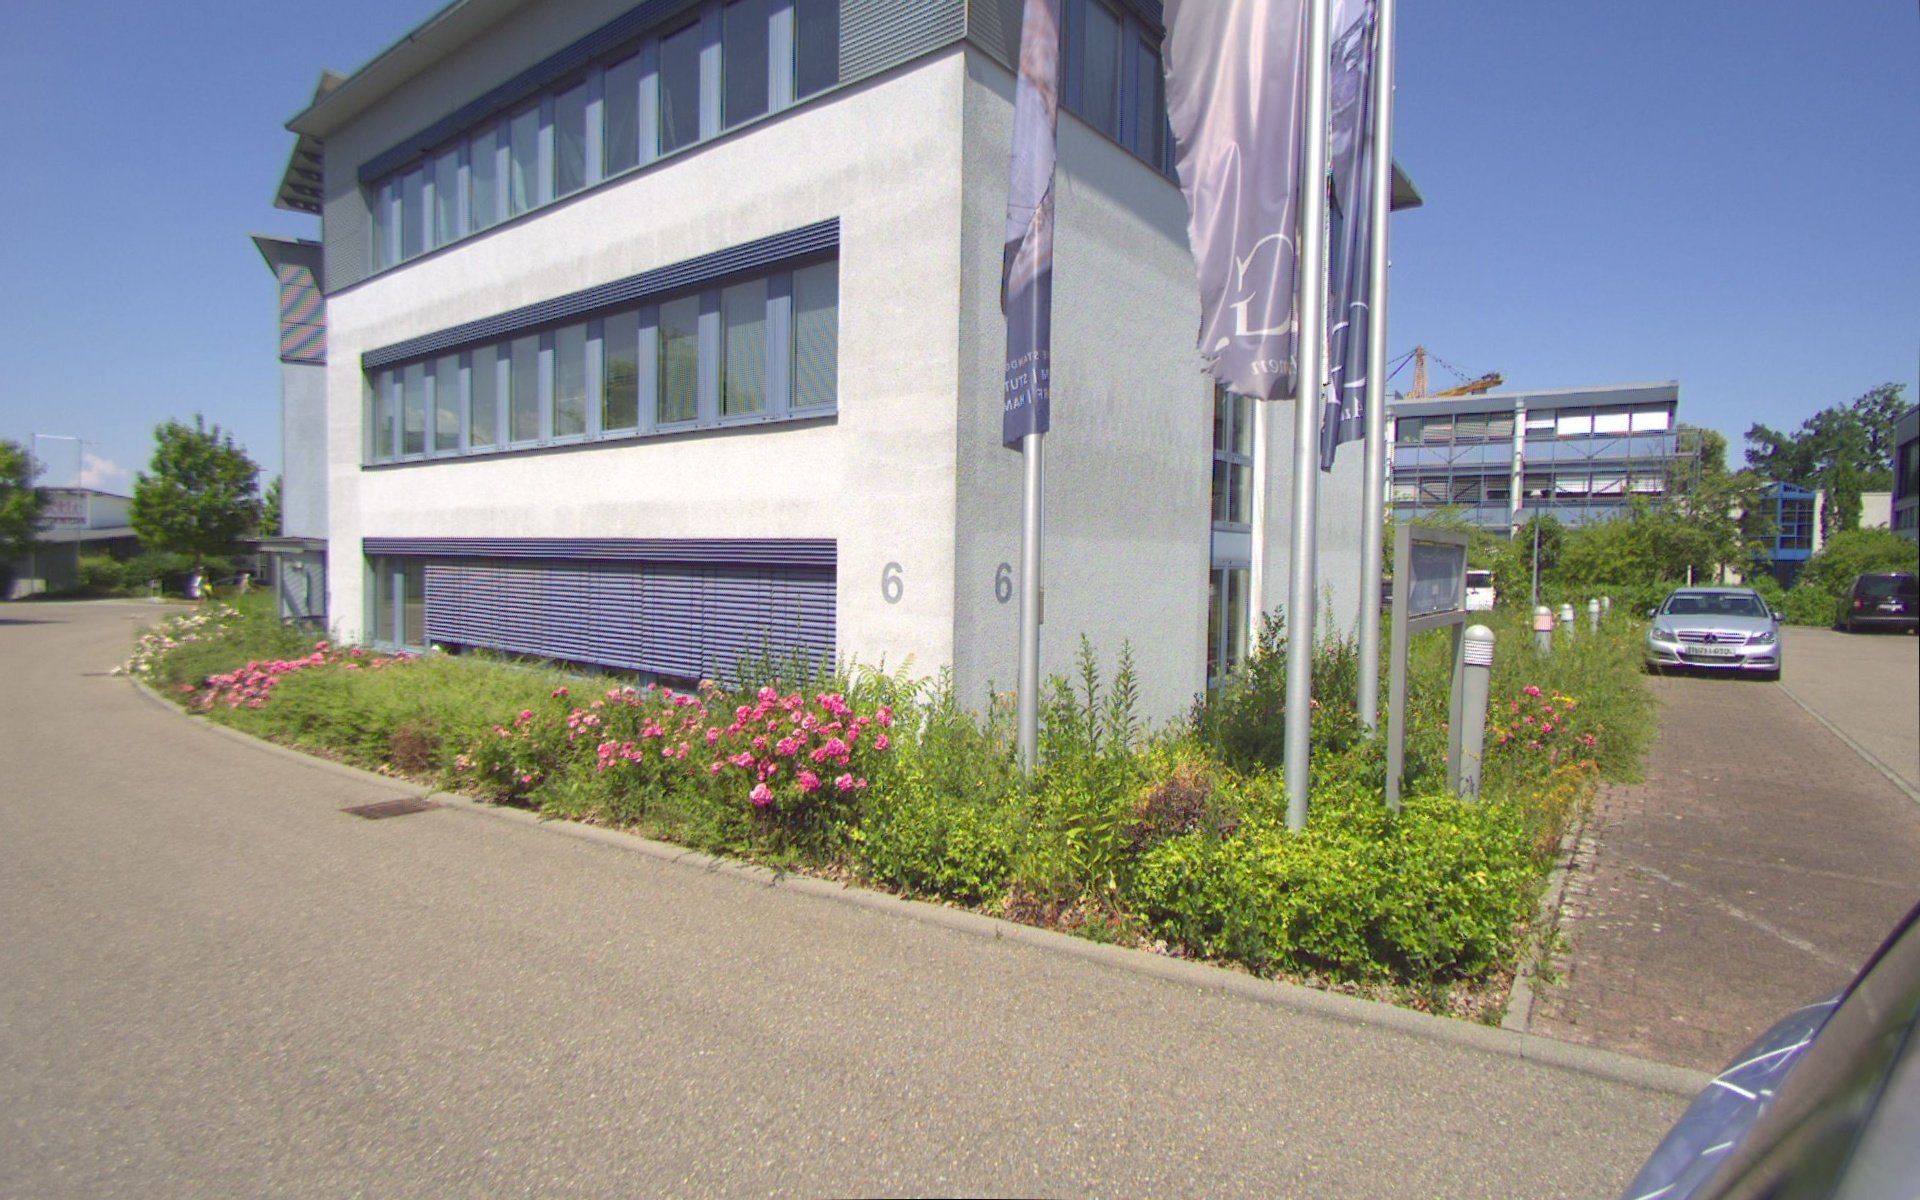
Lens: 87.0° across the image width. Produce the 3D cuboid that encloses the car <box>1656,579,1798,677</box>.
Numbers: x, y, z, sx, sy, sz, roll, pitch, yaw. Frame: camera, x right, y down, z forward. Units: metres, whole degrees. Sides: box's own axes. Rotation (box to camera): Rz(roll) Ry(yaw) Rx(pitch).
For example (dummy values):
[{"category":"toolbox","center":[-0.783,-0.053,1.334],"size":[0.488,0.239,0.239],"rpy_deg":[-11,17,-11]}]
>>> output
[{"category":"car","center":[12.902,0.369,16.999],"size":[1.704,1.408,3.758],"rpy_deg":[2,2,39]}]

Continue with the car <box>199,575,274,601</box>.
[{"category":"car","center":[-41.287,-0.710,57.766],"size":[3.154,1.460,1.590],"rpy_deg":[0,1,0]}]

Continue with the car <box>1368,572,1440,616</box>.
[{"category":"car","center":[17.074,-0.281,38.831],"size":[1.777,1.565,3.950],"rpy_deg":[1,2,35]}]

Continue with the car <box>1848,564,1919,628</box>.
[{"category":"car","center":[28.478,-0.177,30.860],"size":[1.779,1.826,3.947],"rpy_deg":[1,2,37]}]

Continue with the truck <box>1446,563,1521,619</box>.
[{"category":"truck","center":[18.971,-0.353,36.609],"size":[1.986,1.917,3.952],"rpy_deg":[1,1,34]}]
